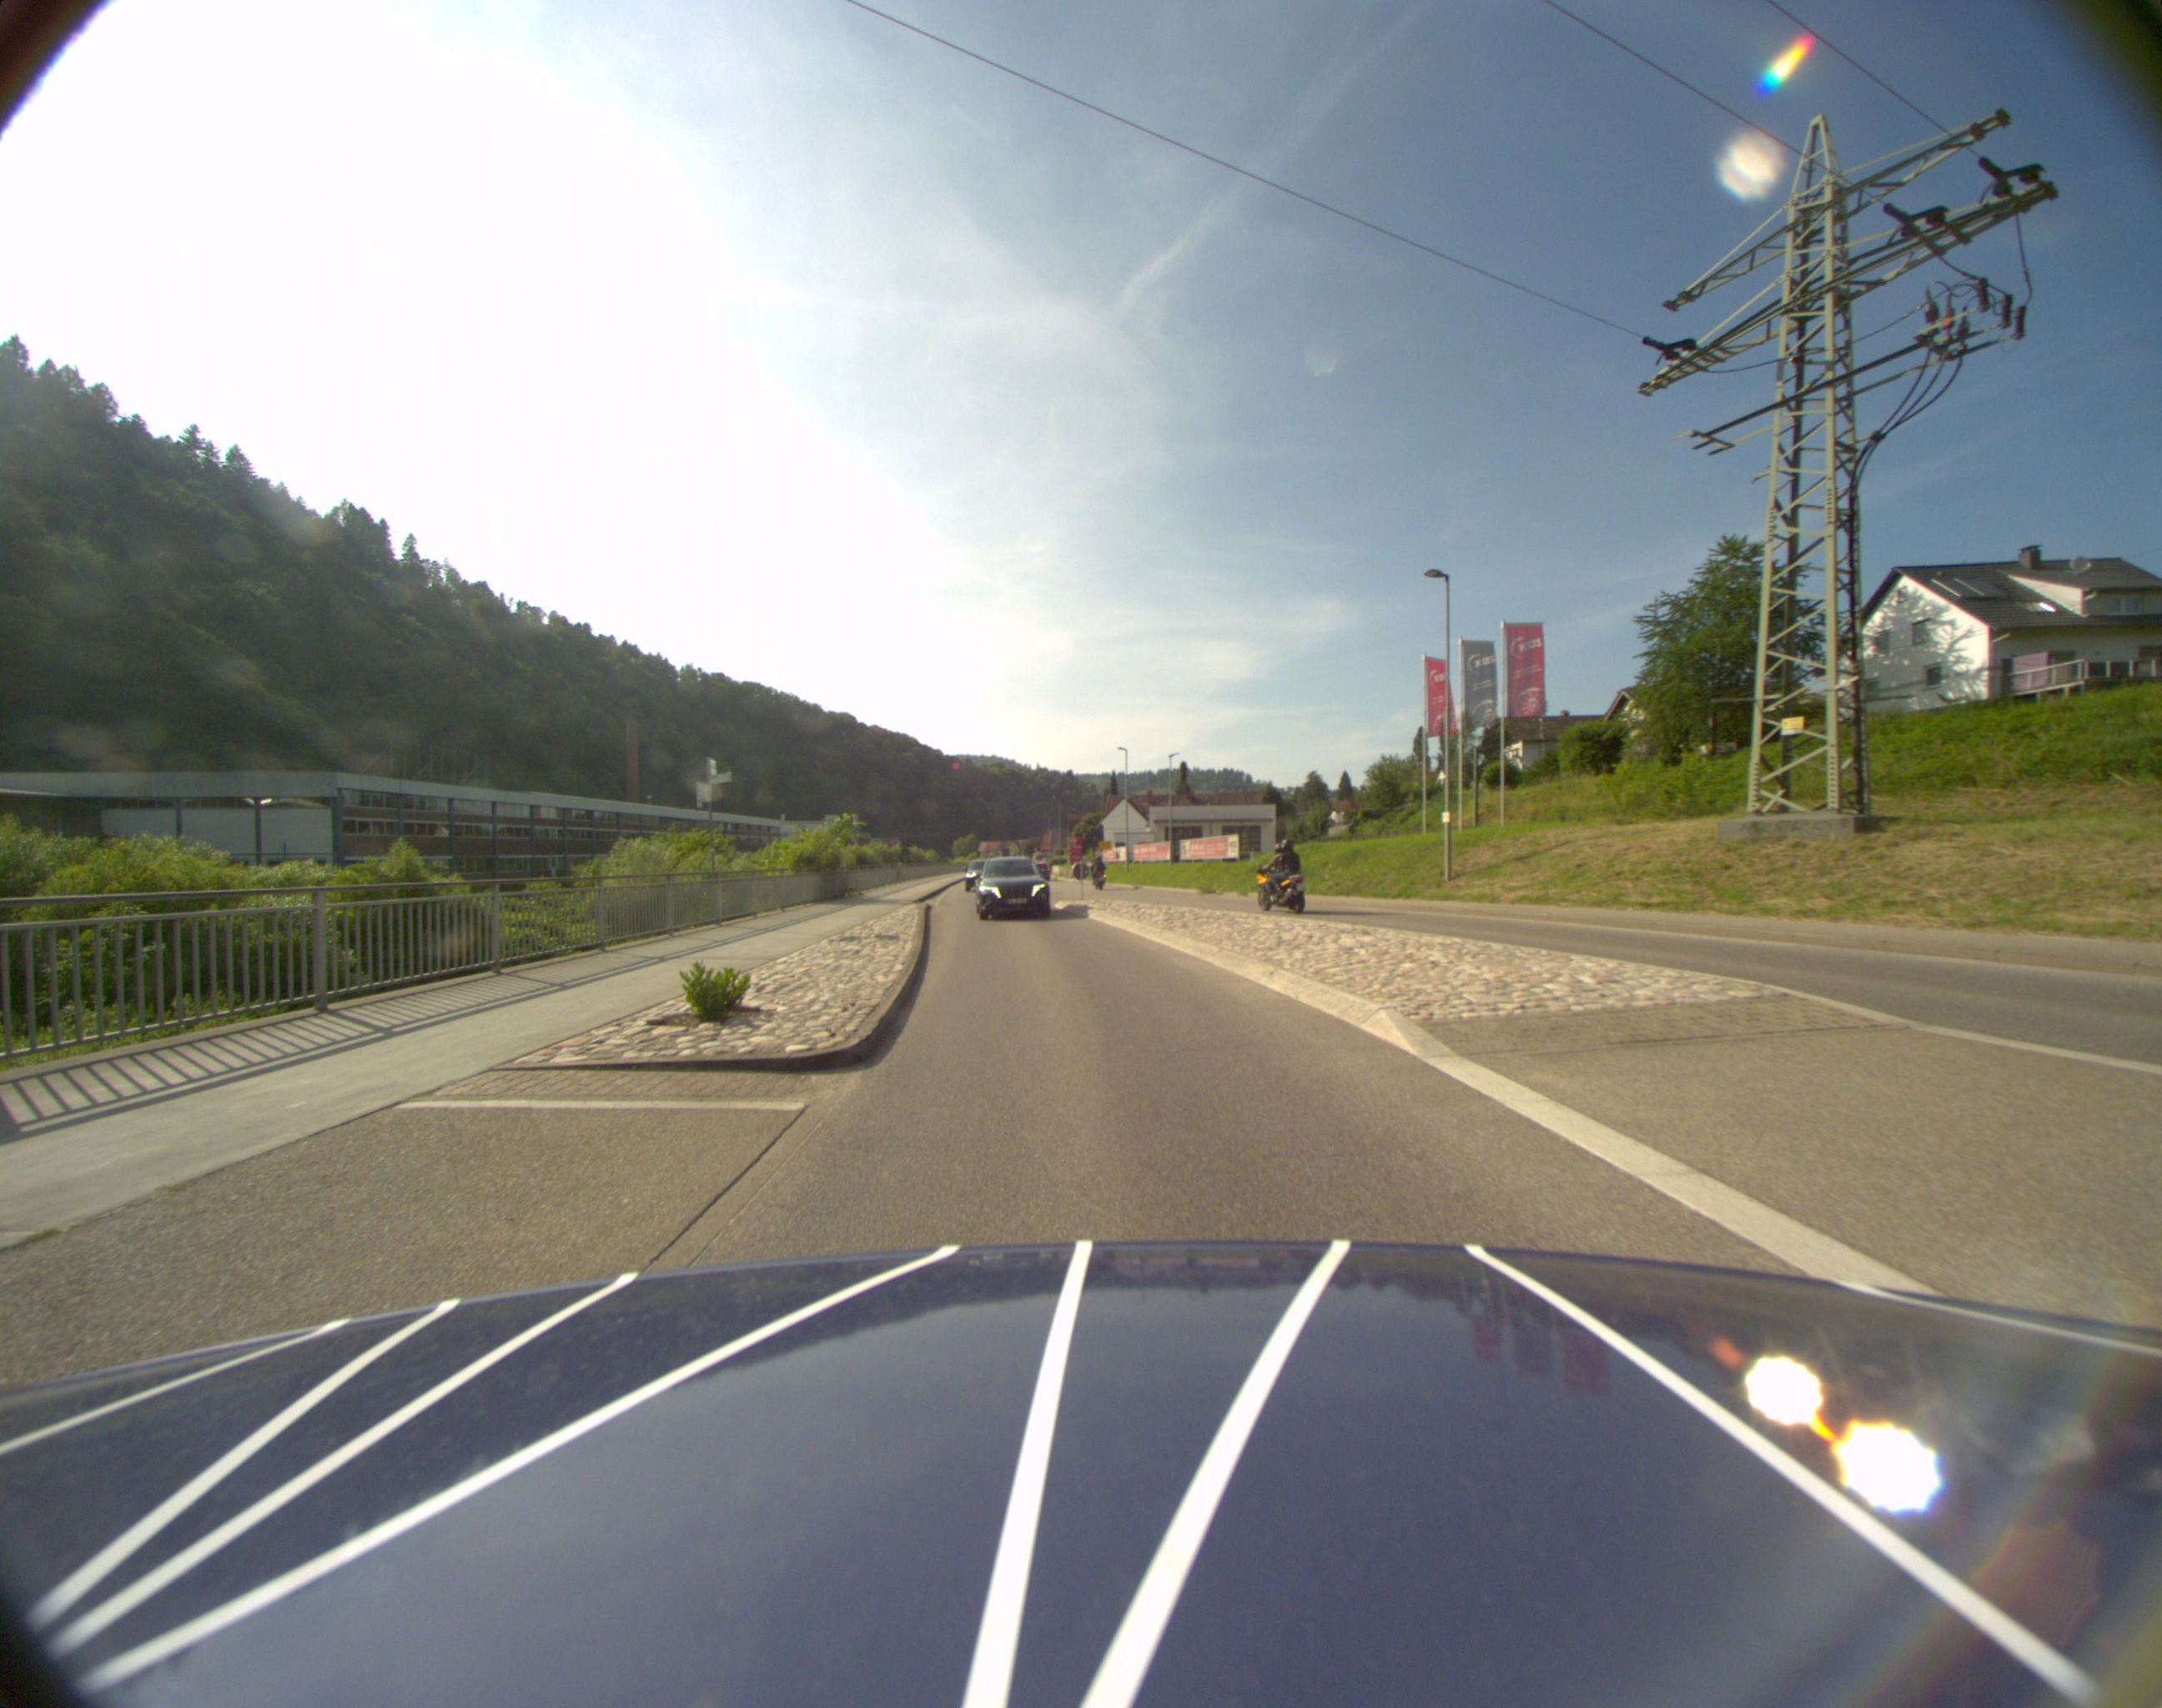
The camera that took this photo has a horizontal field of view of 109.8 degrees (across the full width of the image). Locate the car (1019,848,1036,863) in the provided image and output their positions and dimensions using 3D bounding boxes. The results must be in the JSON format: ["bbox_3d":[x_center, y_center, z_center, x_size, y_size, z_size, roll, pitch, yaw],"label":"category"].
[{"bbox_3d":[-7.391,0.127,105.517,1.902,1.877,5.290,-3,2,-8],"label":"car"}]

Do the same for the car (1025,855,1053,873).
[{"bbox_3d":[-3.674,0.848,65.887,1.781,1.507,4.267,-1,0,-11],"label":"car"}]

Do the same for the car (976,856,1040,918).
[{"bbox_3d":[-2.274,0.918,23.004,1.650,1.639,3.997,-2,0,-9],"label":"car"}]

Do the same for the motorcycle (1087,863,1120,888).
[{"bbox_3d":[1.104,1.035,38.099,0.898,1.176,2.302,-2,0,-18],"label":"motorcycle"}]

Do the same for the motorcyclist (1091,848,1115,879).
[{"bbox_3d":[1.096,0.461,38.072,0.909,1.510,0.846,-1,0,-19],"label":"motorcyclist"}]
